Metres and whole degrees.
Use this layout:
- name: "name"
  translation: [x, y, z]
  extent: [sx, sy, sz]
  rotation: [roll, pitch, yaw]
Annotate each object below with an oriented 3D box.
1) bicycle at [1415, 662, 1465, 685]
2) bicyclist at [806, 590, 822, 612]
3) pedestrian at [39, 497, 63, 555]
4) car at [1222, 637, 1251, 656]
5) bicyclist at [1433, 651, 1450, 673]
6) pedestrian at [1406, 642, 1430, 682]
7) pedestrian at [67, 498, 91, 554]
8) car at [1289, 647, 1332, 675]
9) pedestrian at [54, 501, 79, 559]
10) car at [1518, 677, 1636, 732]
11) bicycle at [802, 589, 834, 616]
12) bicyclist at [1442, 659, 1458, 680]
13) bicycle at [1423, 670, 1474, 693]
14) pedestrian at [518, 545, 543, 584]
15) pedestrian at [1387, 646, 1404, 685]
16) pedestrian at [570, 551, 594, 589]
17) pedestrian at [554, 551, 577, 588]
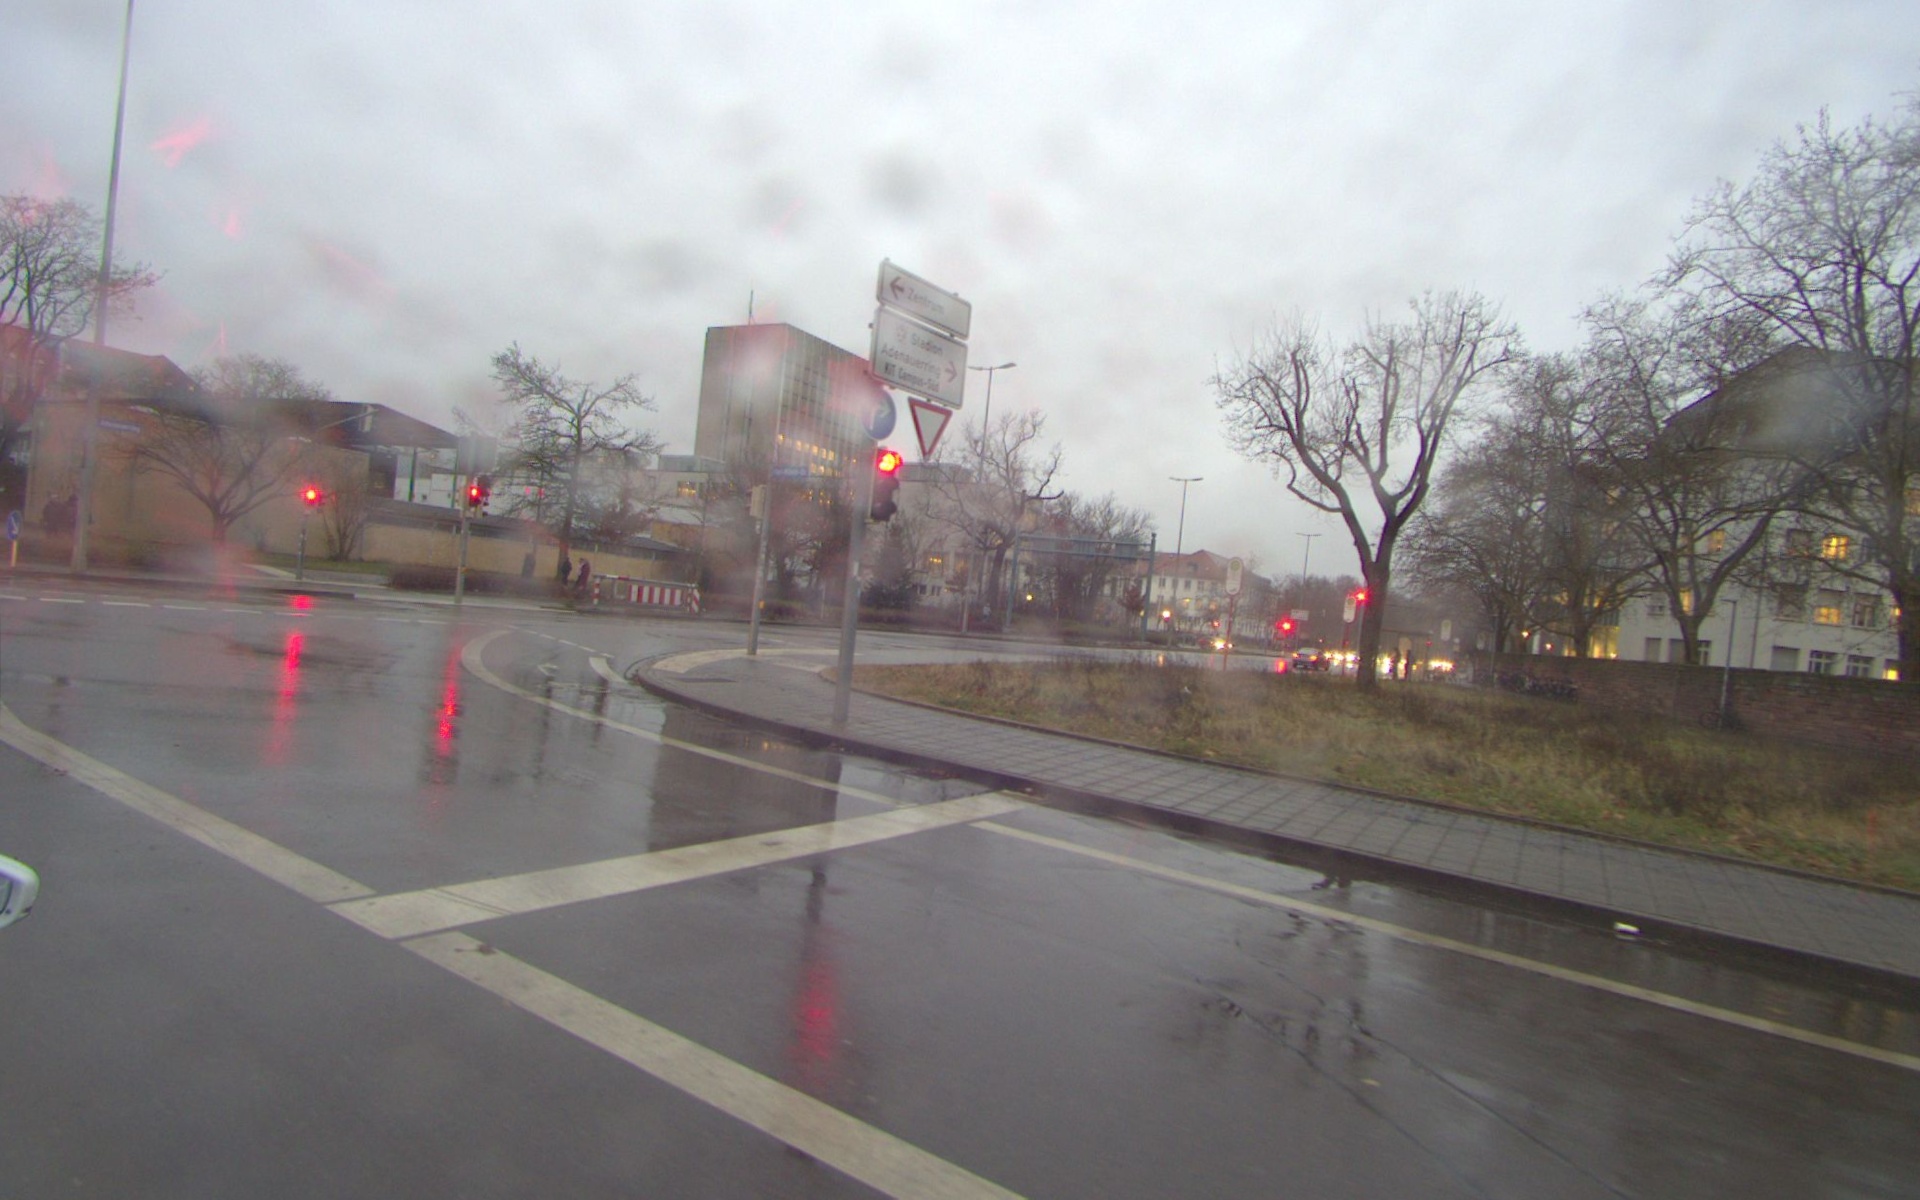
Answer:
- name: "bicycle"
  translation: [26.541, 4.071, 55.654]
  extent: [2.373, 1.003, 0.537]
  rotation: [4, -2, 31]
- name: "bicyclist"
  translation: [-8.990, 0.060, 61.936]
  extent: [0.599, 1.261, 0.698]
  rotation: [5, -2, 40]
- name: "pedestrian"
  translation: [-30.378, -2.468, 33.621]
  extent: [0.436, 1.860, 0.455]
  rotation: [6, -1, -40]
- name: "car"
  translation: [30.711, 5.151, 111.546]
  extent: [1.720, 1.670, 4.239]
  rotation: [5, -3, 34]
- name: "bicyclist"
  translation: [26.354, 3.395, 55.040]
  extent: [0.690, 1.092, 0.494]
  rotation: [5, -2, 32]
- name: "pedestrian"
  translation: [22.023, 2.982, 48.381]
  extent: [0.823, 1.857, 0.667]
  rotation: [5, -1, 34]
- name: "pedestrian"
  translation: [-30.071, -2.525, 34.336]
  extent: [0.435, 1.860, 0.455]
  rotation: [6, -1, -40]
- name: "car"
  translation: [25.192, 4.385, 72.272]
  extent: [1.861, 1.670, 3.635]
  rotation: [4, -3, 35]
- name: "pedestrian"
  translation: [-29.561, -2.306, 33.289]
  extent: [0.456, 1.860, 0.434]
  rotation: [7, -1, -41]
- name: "car"
  translation: [14.472, 2.457, 23.587]
  extent: [2.656, 0.989, 1.290]
  rotation: [7, 1, -34]
- name: "bicycle"
  translation: [-8.789, 0.159, 62.218]
  extent: [0.584, 1.439, 1.922]
  rotation: [5, -2, 40]
- name: "bicyclist"
  translation: [26.951, 3.816, 55.306]
  extent: [0.690, 1.092, 0.494]
  rotation: [5, -2, 32]
- name: "bicycle"
  translation: [26.592, 4.451, 54.775]
  extent: [2.373, 1.003, 0.479]
  rotation: [4, -2, 31]
- name: "pedestrian"
  translation: [-20.205, -1.658, 47.322]
  extent: [0.749, 1.745, 0.623]
  rotation: [5, -2, 38]
- name: "pedestrian"
  translation: [21.312, 3.205, 49.224]
  extent: [0.633, 1.857, 0.836]
  rotation: [5, -1, 23]
- name: "pedestrian"
  translation: [-18.203, -1.452, 48.451]
  extent: [0.749, 1.745, 0.623]
  rotation: [5, -2, 38]
- name: "pedestrian"
  translation: [-19.330, -1.505, 49.274]
  extent: [0.749, 1.745, 0.623]
  rotation: [5, -2, 38]
